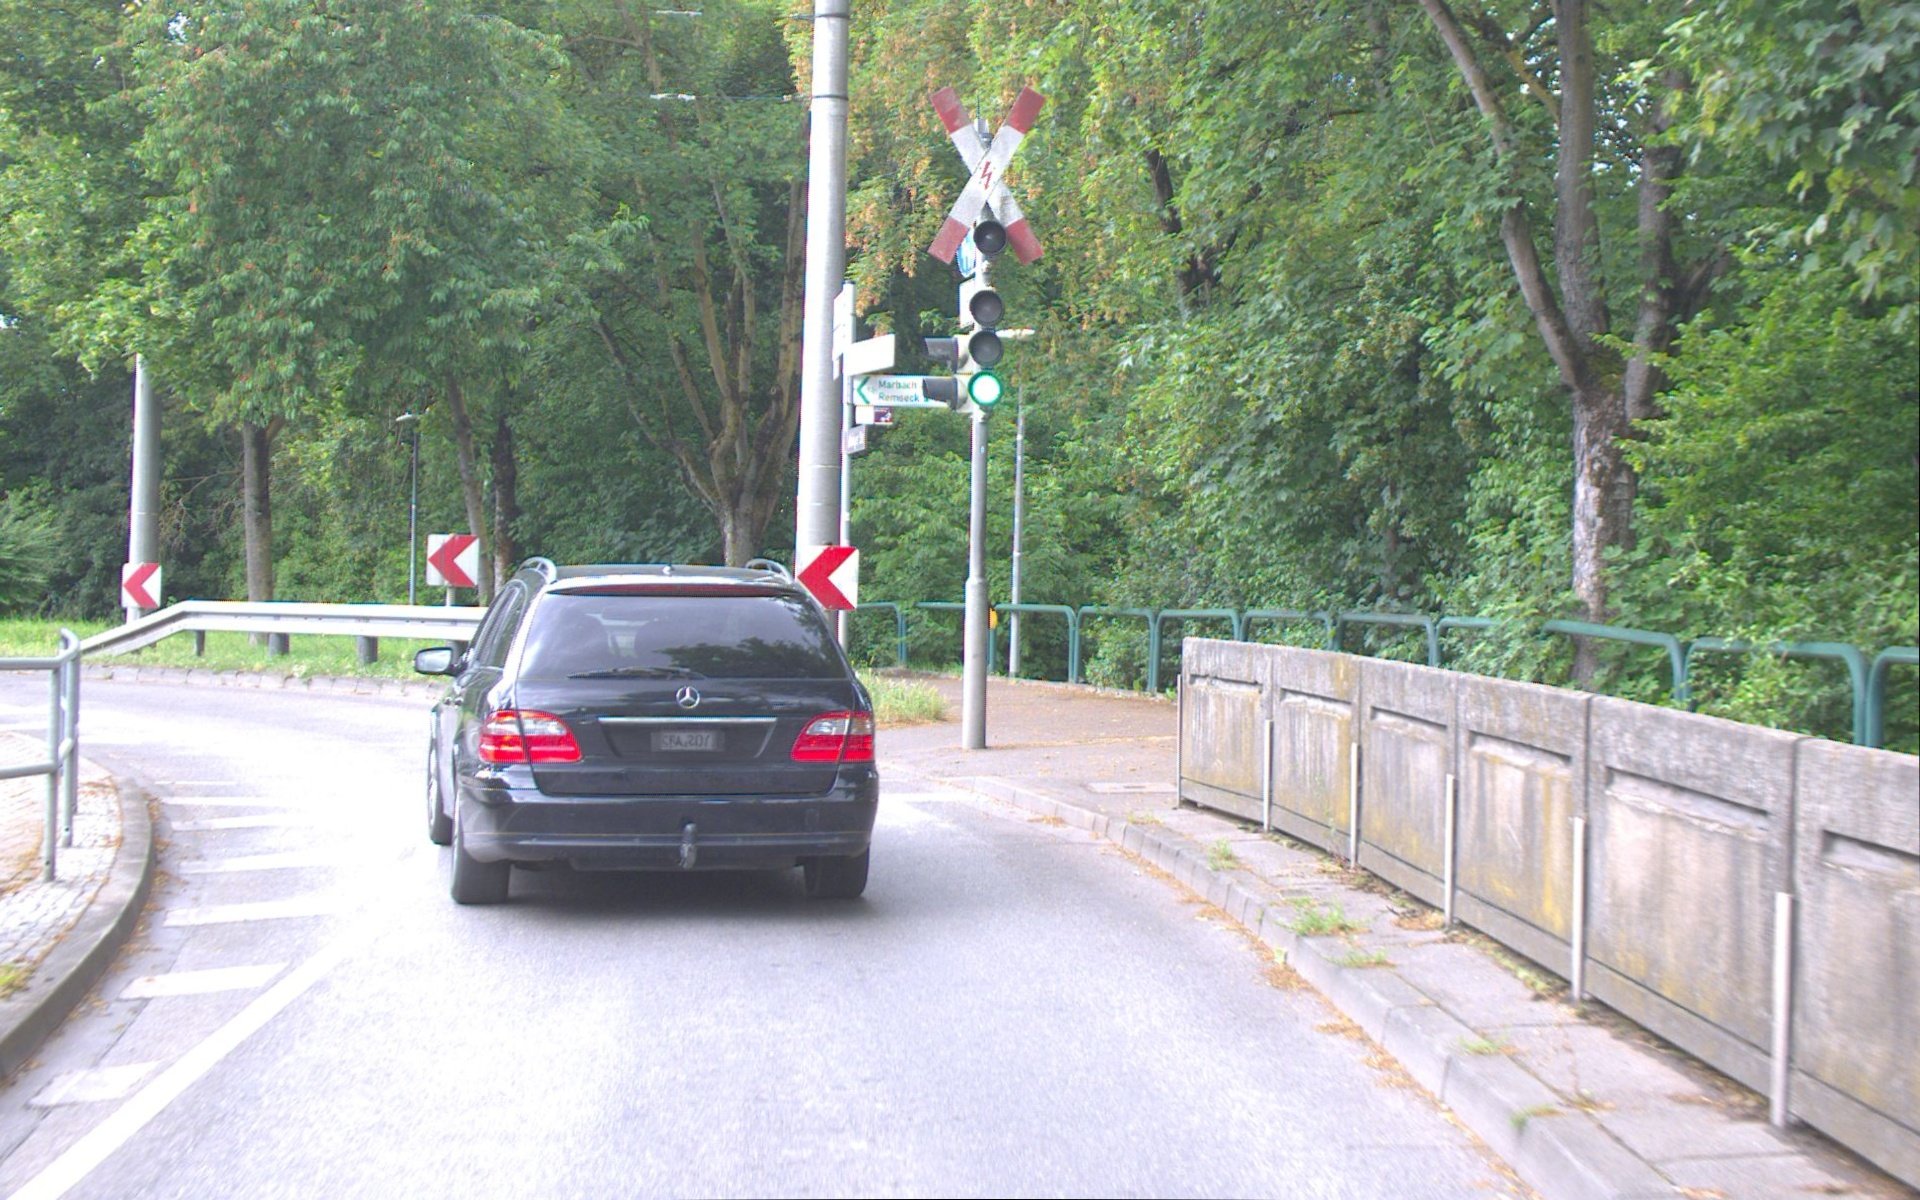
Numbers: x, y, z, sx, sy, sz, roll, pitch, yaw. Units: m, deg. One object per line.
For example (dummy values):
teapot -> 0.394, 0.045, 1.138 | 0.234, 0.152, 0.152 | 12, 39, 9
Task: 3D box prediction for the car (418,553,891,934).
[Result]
car -> -1.531, 0.547, 15.816 | 1.781, 1.520, 4.001 | 0, 1, -11
